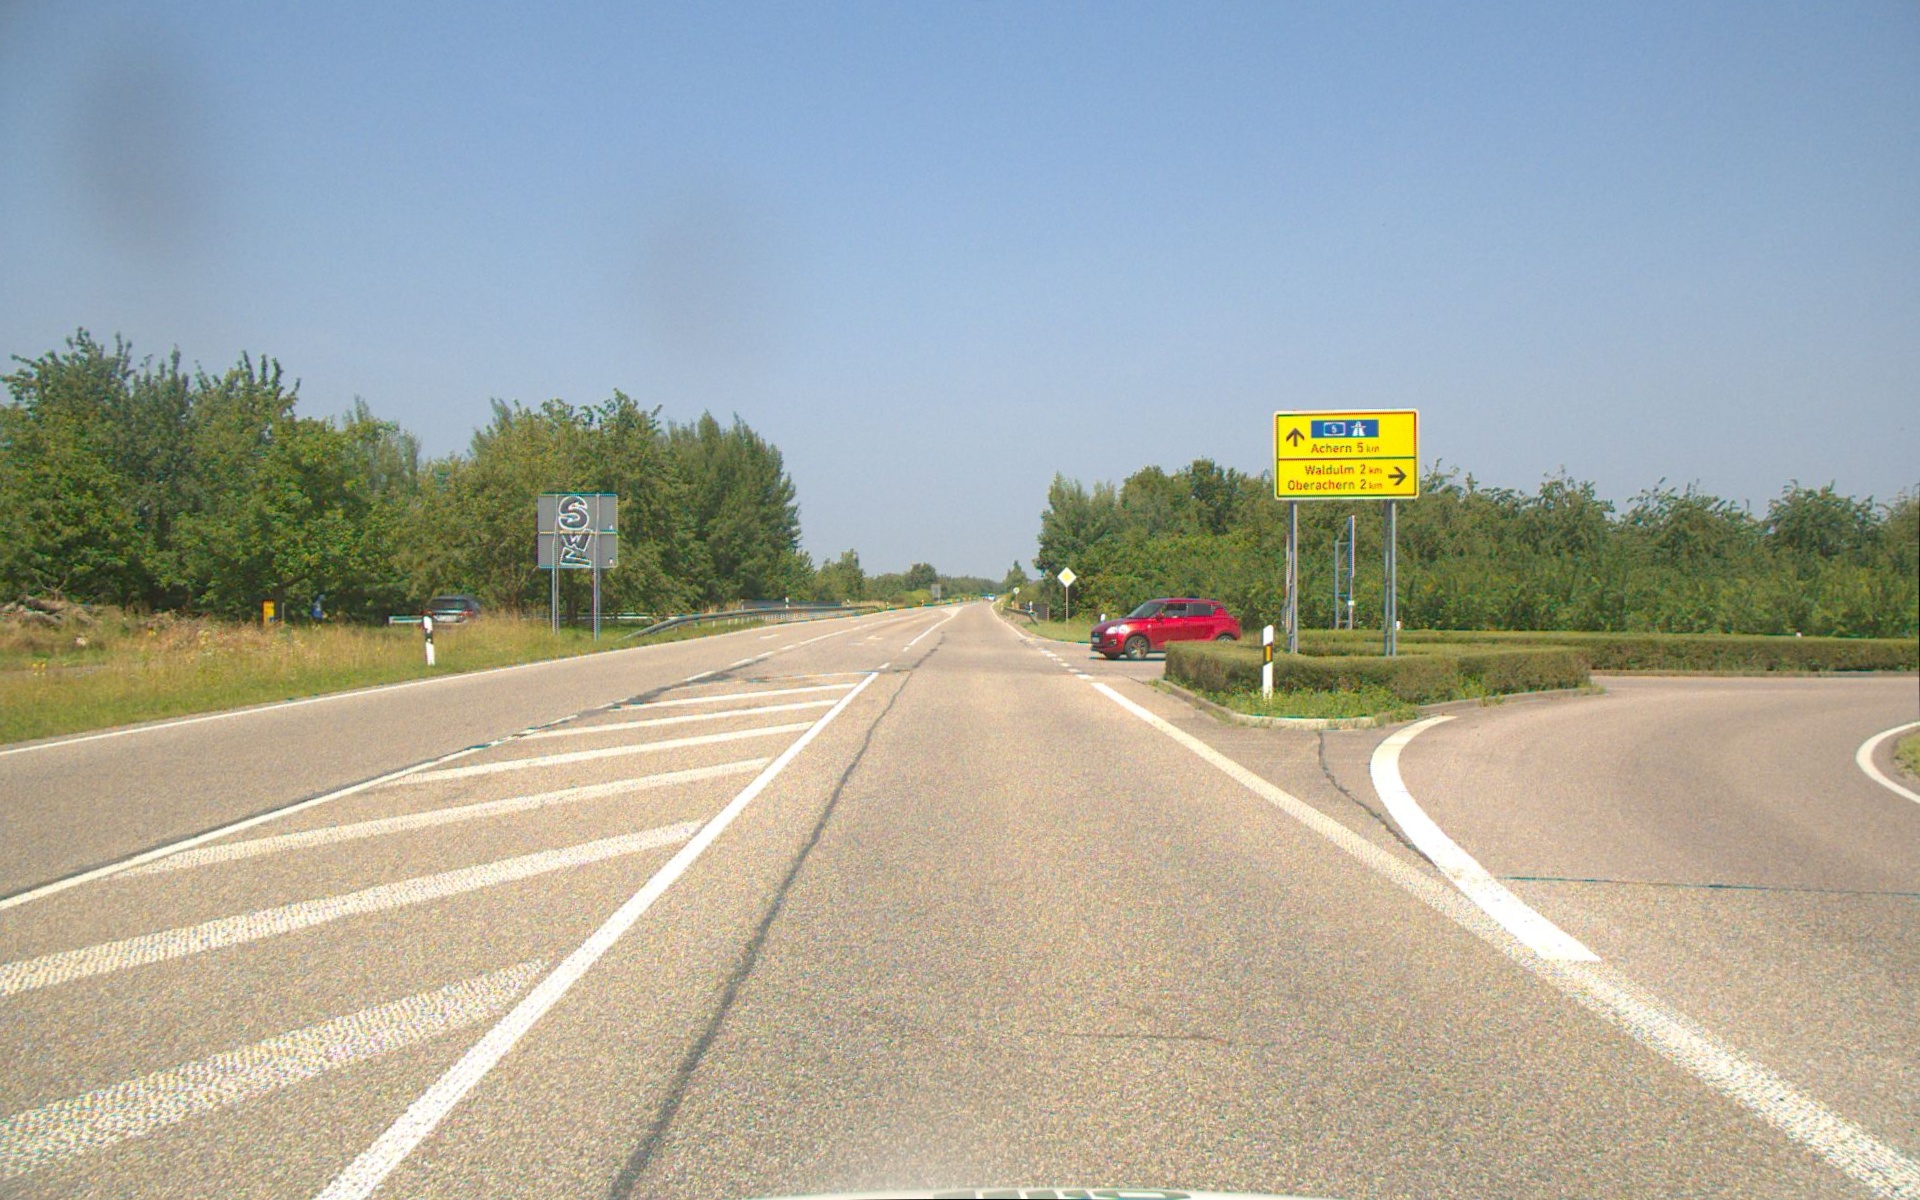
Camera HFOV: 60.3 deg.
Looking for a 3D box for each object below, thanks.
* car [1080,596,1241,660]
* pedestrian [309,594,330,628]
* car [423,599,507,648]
[{"bbox_3d":[5.039,0.697,41.643,3.681,1.519,1.664,1,0,-18],"label":"car"},{"bbox_3d":[-24.759,0.432,63.938,0.561,1.320,0.556,1,0,2],"label":"pedestrian"},{"bbox_3d":[-15.281,0.701,51.215,1.671,1.448,4.040,0,0,-4],"label":"car"}]
